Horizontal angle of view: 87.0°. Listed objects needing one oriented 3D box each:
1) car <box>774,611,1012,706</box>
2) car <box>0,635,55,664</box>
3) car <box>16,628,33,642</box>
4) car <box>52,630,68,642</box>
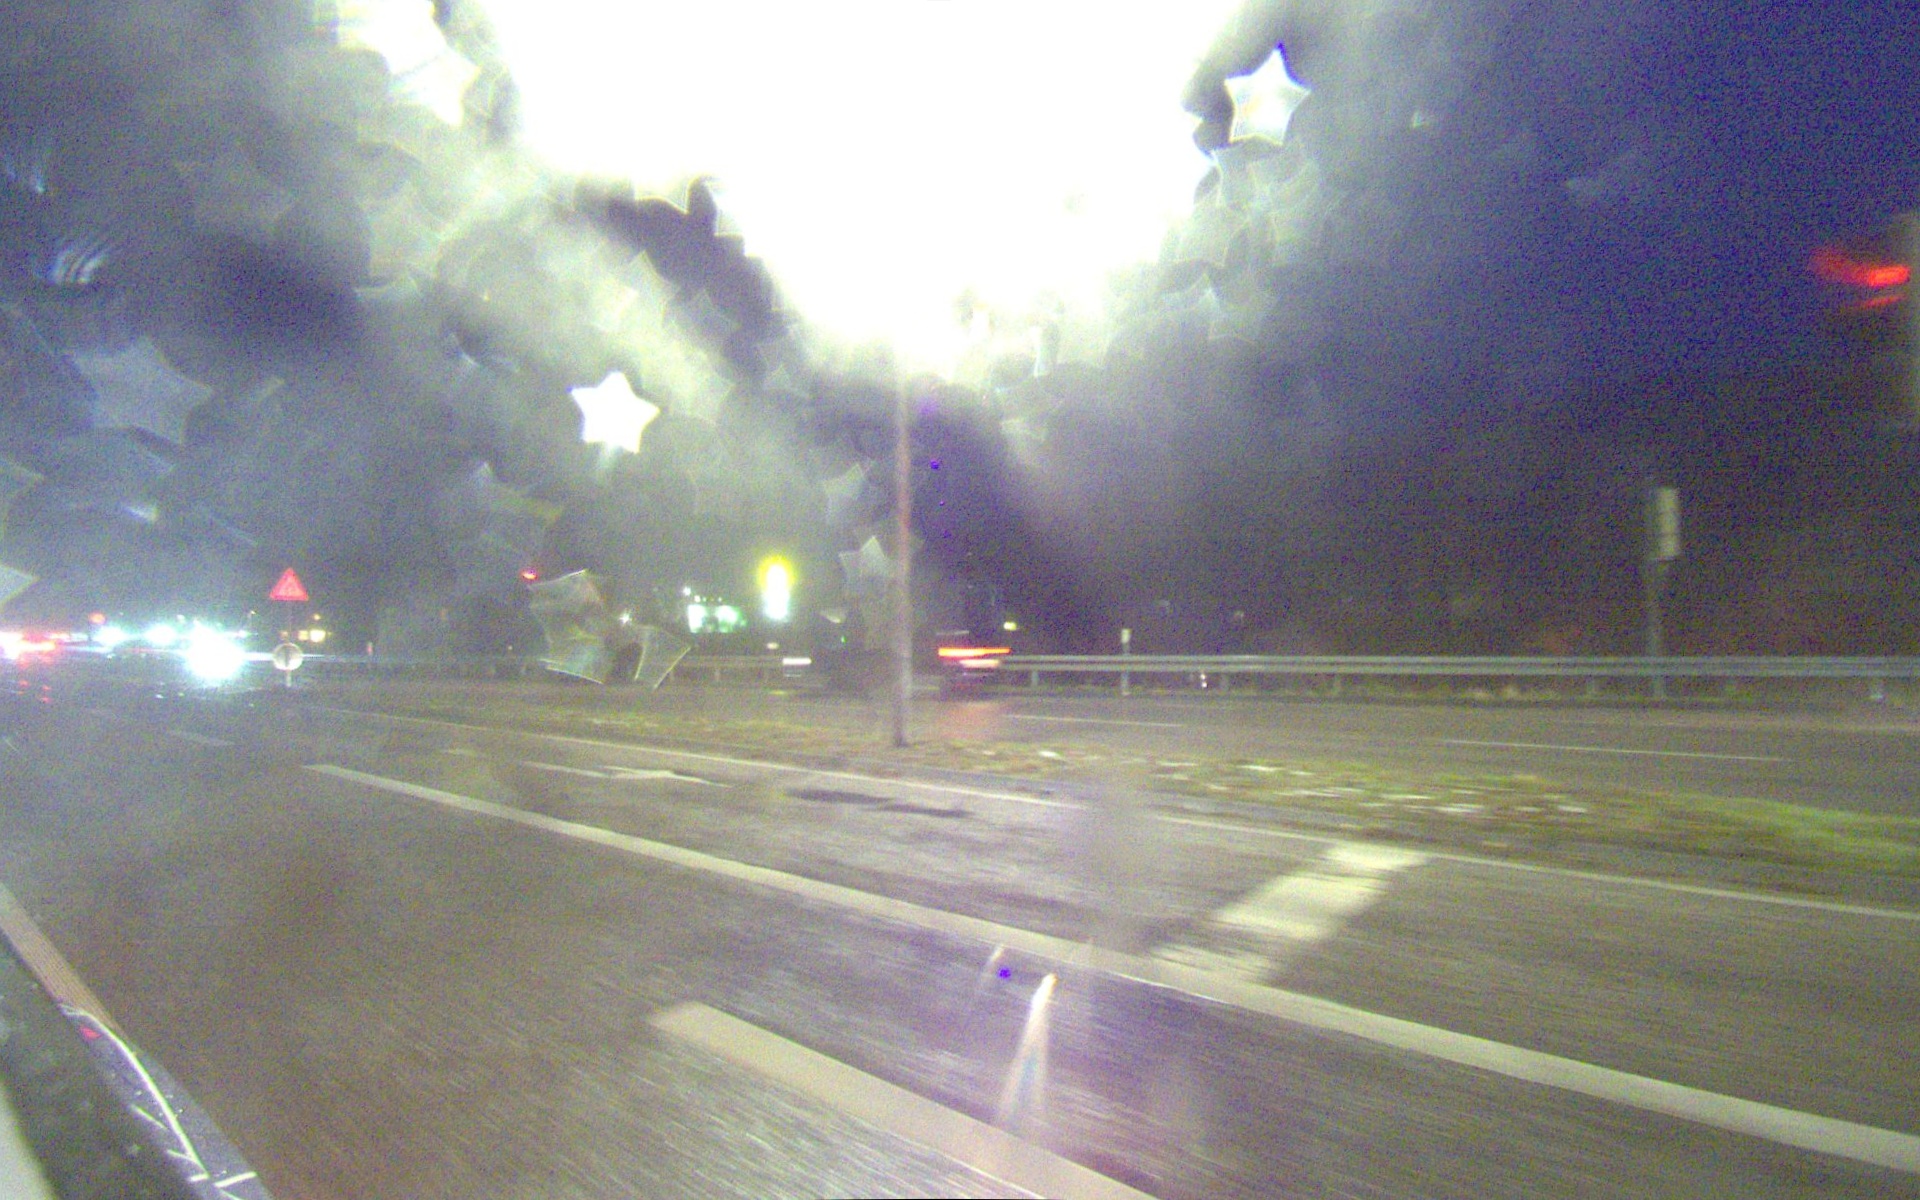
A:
[{"bbox_3d":[-1.350,1.050,19.740,4.490,1.665,1.695,0,-1,30],"label":"car"},{"bbox_3d":[-61.596,3.227,66.822,4.573,1.713,2.068,-1,-1,39],"label":"car"},{"bbox_3d":[-143.327,5.418,155.075,1.970,2.029,4.004,0,-1,-43],"label":"car"},{"bbox_3d":[-157.669,6.341,177.247,1.969,2.029,4.006,0,-1,-41],"label":"car"}]
